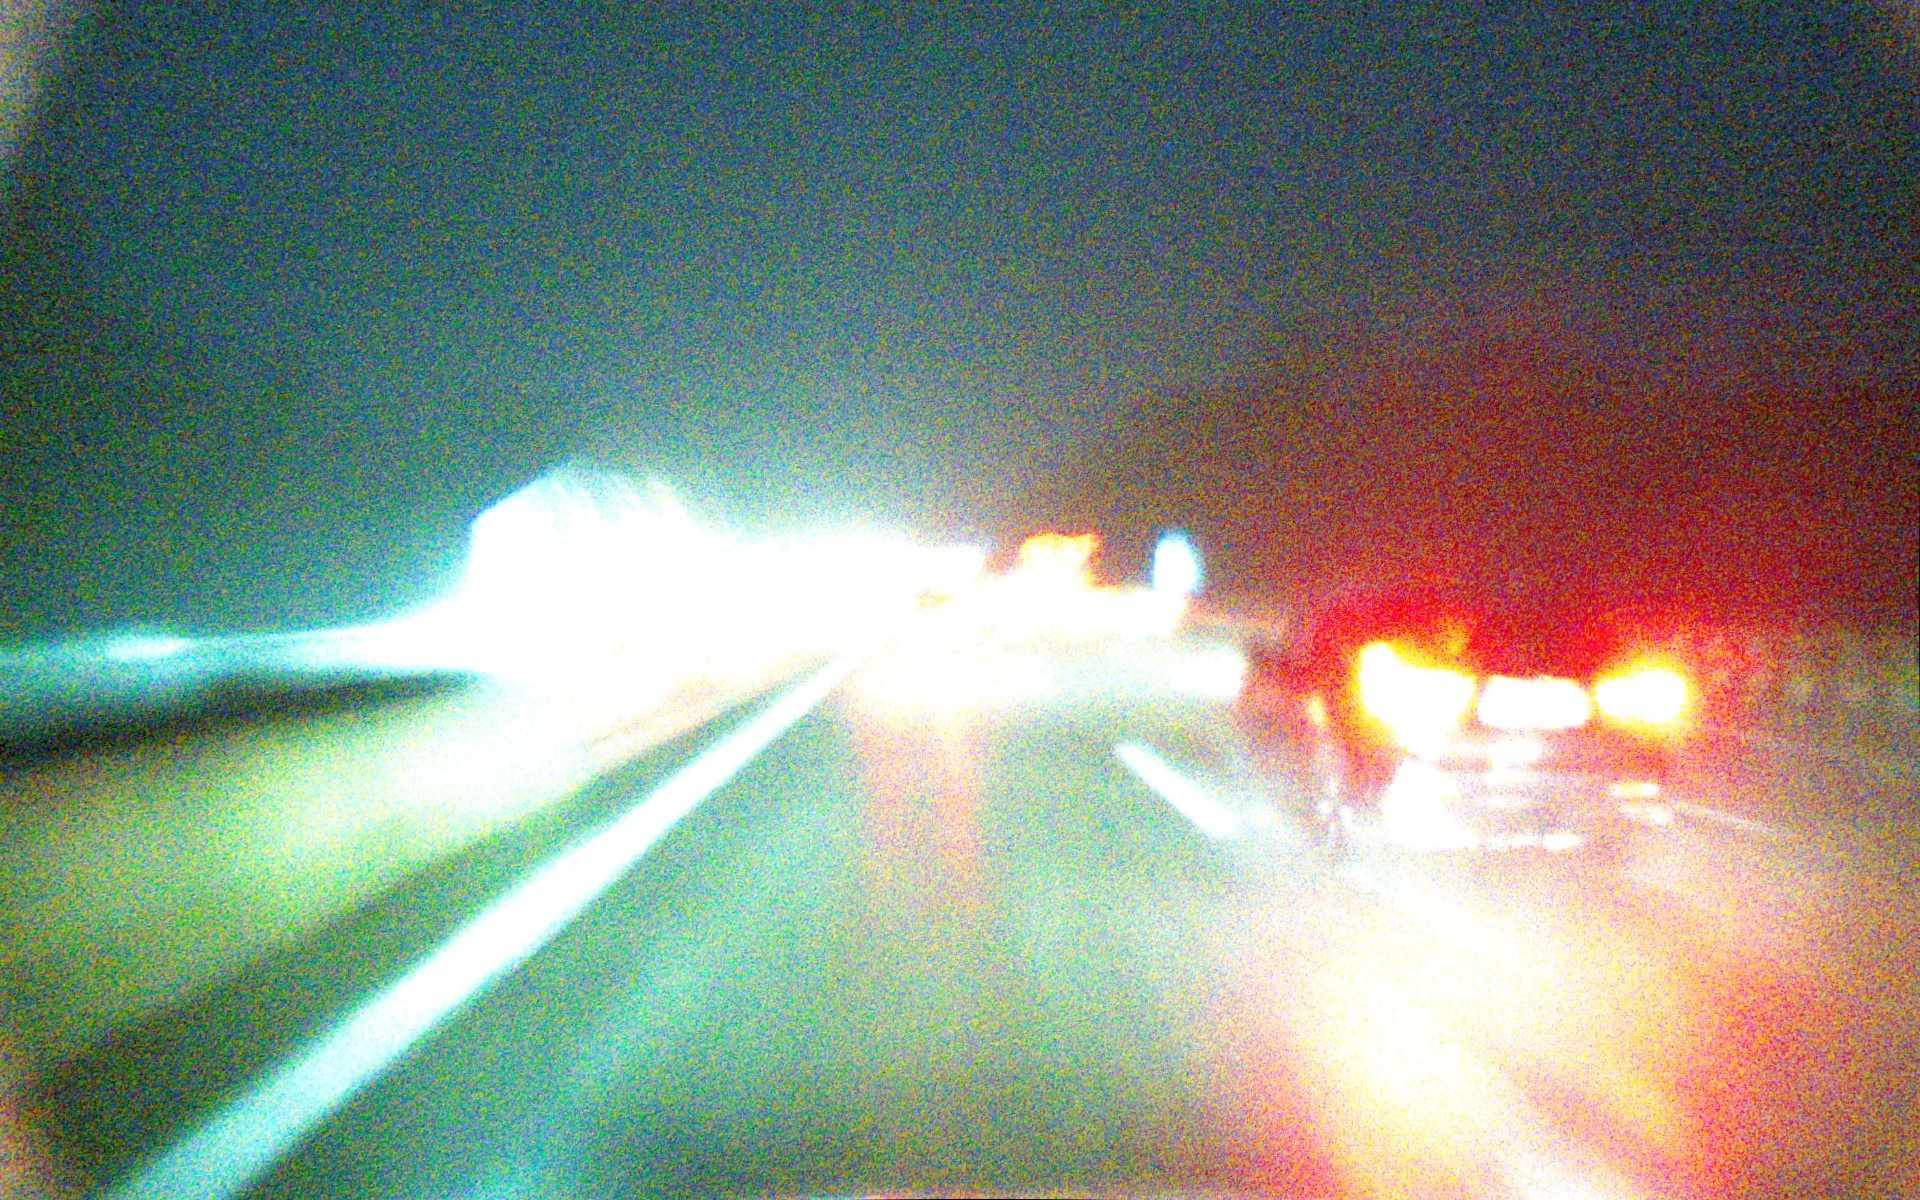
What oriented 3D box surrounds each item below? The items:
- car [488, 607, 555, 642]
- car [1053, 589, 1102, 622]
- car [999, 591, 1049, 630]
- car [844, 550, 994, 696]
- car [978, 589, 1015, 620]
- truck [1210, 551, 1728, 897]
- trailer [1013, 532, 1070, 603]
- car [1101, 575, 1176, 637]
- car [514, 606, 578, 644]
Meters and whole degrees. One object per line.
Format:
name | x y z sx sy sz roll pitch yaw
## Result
car | -21.602 1.186 81.639 1.854 1.610 5.371 1 0 0
car | 5.720 0.229 80.989 1.856 1.512 4.960 1 1 -2
car | 2.386 0.386 62.537 1.580 1.437 3.790 0 0 -2
car | -0.884 0.379 33.228 2.656 2.578 5.828 -2 1 -3
car | 1.979 0.239 91.222 1.846 1.616 3.999 0 0 -1
truck | 2.948 0.626 10.795 1.806 1.726 4.853 1 0 -1
trailer | 5.079 -2.004 105.493 2.747 4.286 12.093 0 0 -1
car | 6.288 0.162 58.875 2.004 2.008 5.407 -2 1 0
car | -17.248 1.012 69.129 1.747 1.447 4.350 -2 0 -3
